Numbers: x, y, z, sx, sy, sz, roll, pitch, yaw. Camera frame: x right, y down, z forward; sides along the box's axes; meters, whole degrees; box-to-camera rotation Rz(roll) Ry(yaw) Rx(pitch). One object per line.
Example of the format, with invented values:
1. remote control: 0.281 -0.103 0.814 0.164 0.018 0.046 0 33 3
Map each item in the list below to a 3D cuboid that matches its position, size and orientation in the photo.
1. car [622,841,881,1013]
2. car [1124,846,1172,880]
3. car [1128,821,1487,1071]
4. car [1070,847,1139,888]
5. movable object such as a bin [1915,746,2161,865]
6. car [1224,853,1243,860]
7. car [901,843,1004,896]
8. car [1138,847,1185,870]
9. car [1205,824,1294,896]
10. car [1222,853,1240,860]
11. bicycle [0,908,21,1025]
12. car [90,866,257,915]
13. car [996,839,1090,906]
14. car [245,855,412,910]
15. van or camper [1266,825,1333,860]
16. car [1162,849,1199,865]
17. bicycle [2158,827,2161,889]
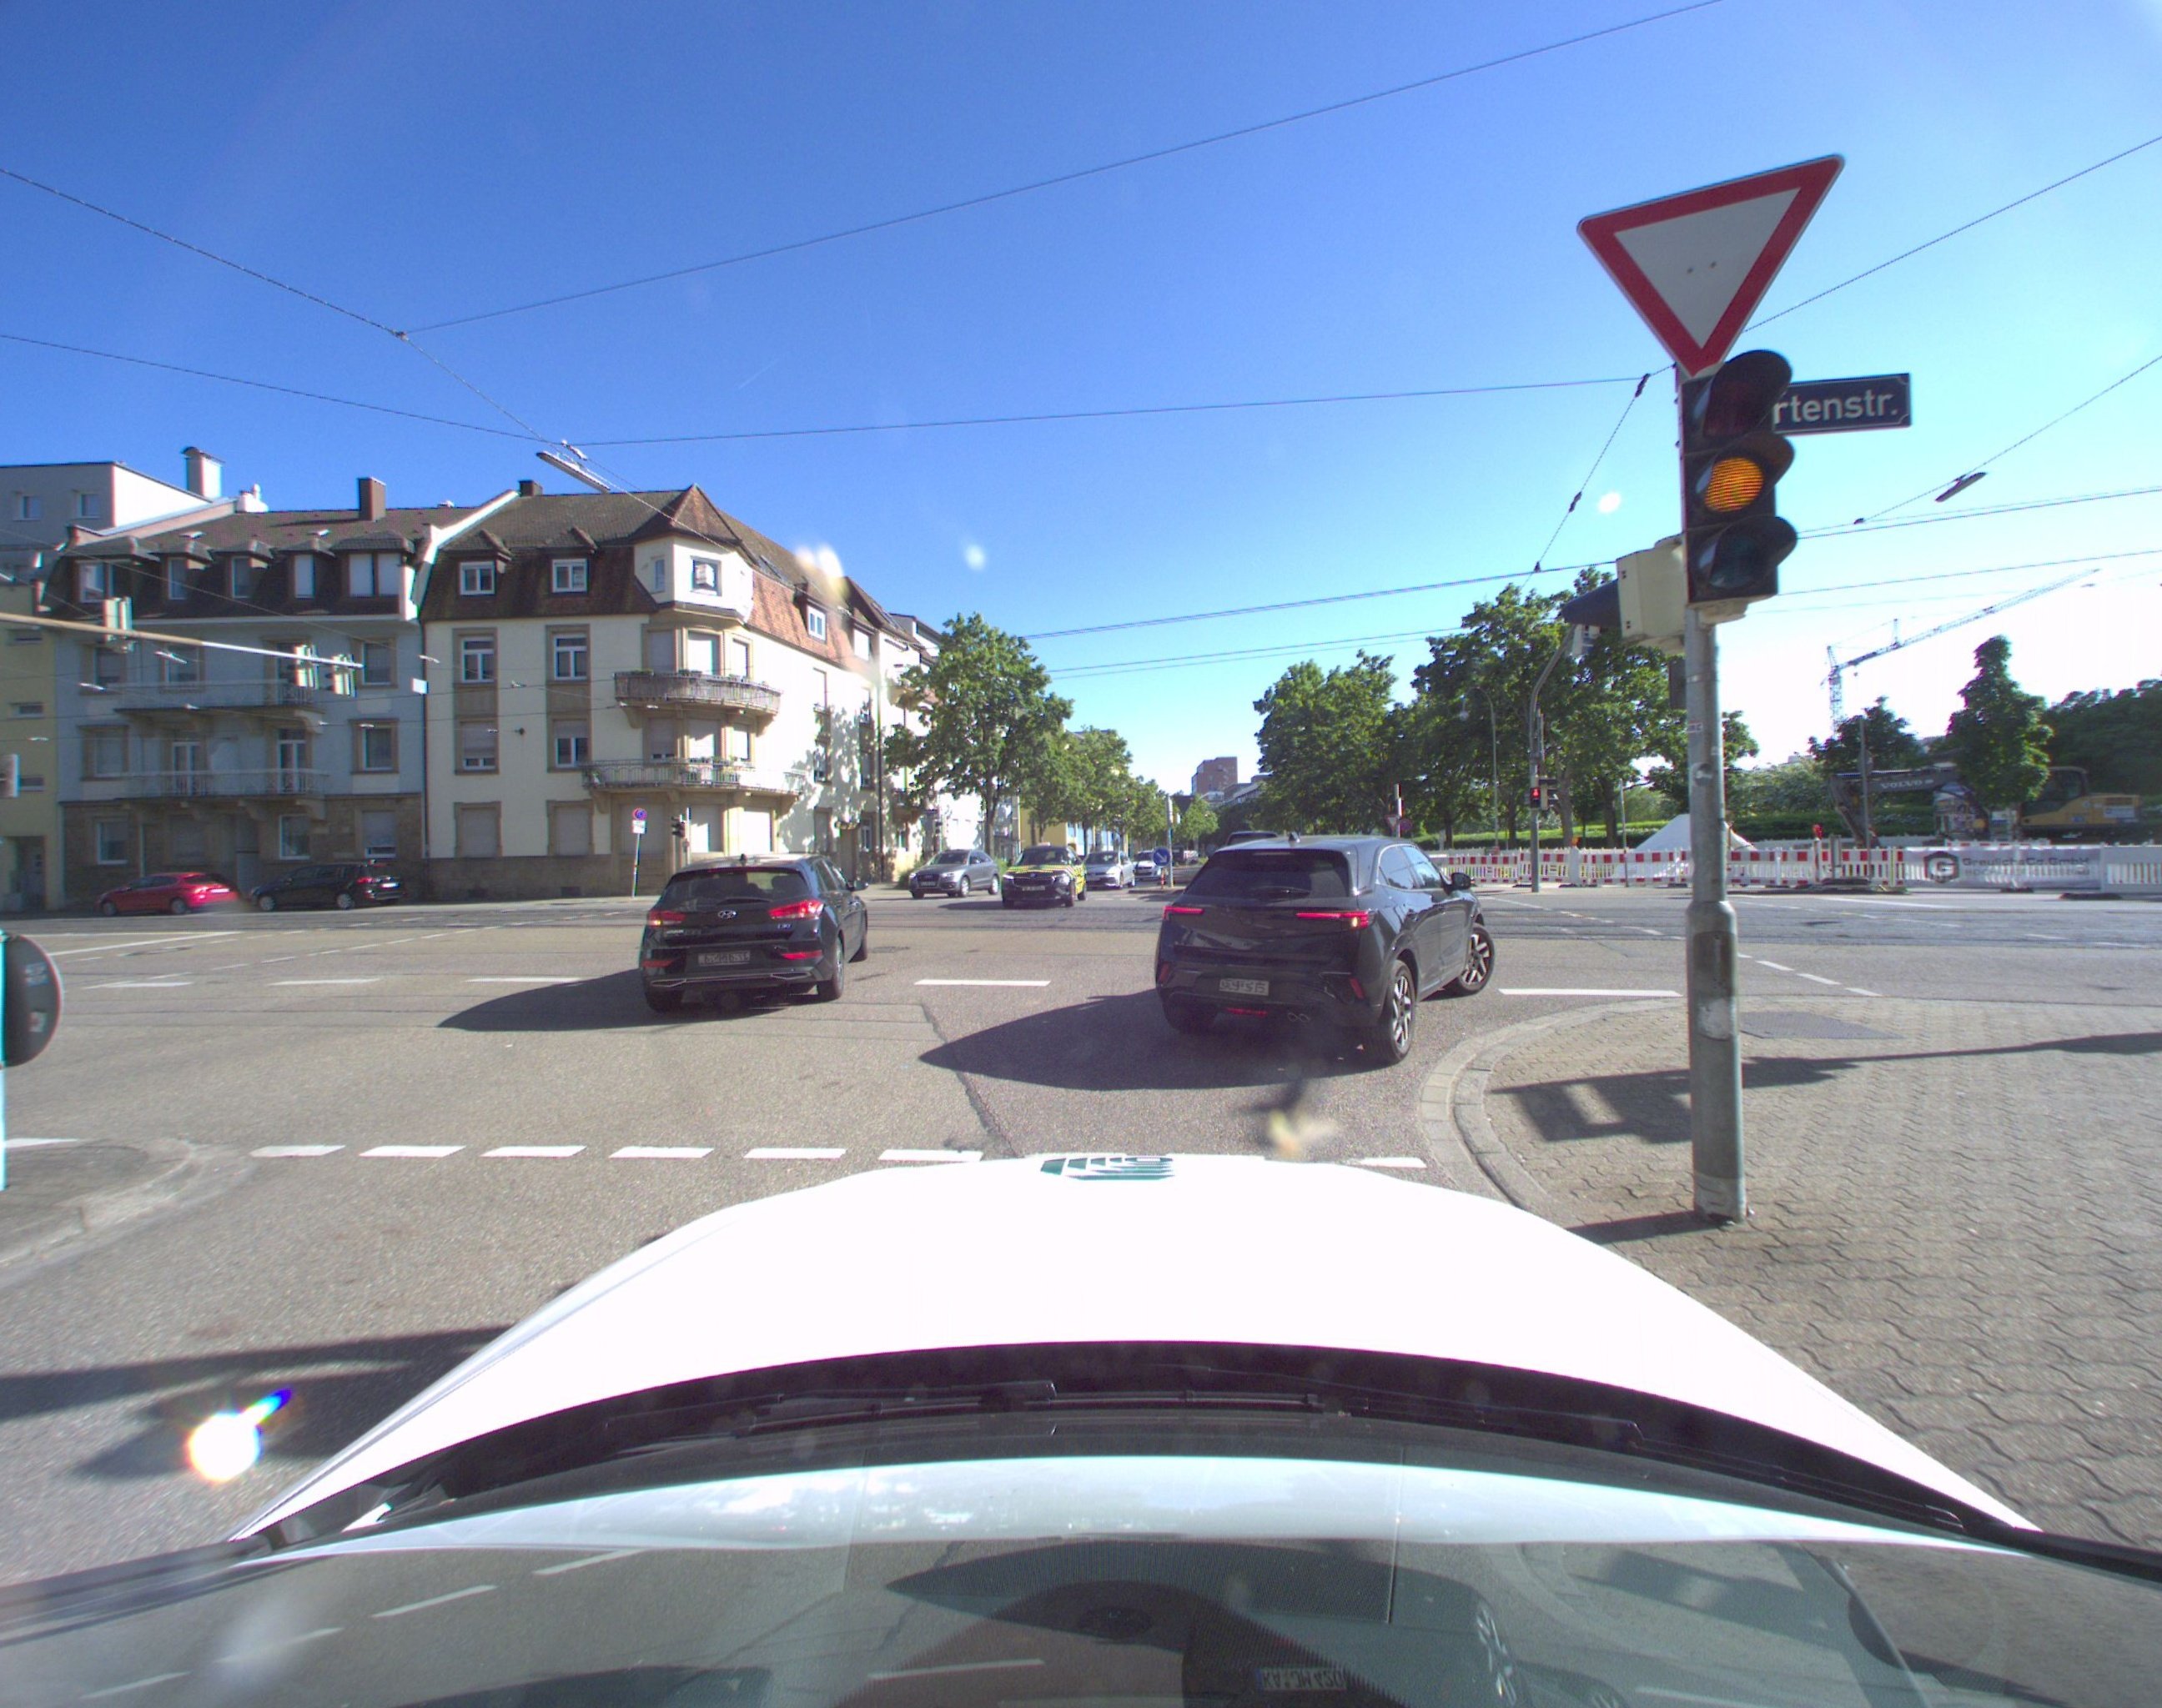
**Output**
1. car: -3.442 0.600 9.410 1.800 1.451 4.313 -2 1 -9
2. car: 3.391 0.398 40.554 1.692 1.512 3.878 -4 0 14
3. car: 2.174 0.549 7.001 1.764 1.517 3.779 -1 0 35
4. car: 0.961 0.469 30.973 1.695 1.452 3.866 -2 0 15
5. movable object such as a bin: 29.581 -1.377 25.049 4.664 3.363 2.844 -1 -1 11
6. car: 33.094 0.540 176.782 3.929 1.397 1.518 -4 -1 4
7. car: -4.198 0.472 27.276 1.871 1.610 4.164 -2 0 14
8. car: 9.756 0.585 99.280 5.265 2.545 1.977 -2 -1 -12
9. car: 5.049 0.137 23.799 2.117 1.835 4.962 -2 0 16
10. car: 35.296 0.559 191.372 3.929 1.397 1.518 -4 -1 4
11. bicycle: -10.832 1.113 7.037 0.539 1.123 2.061 -2 0 4
12. car: -32.549 1.277 29.284 3.862 1.540 1.901 -2 1 3
13. car: -0.867 0.422 21.114 1.779 1.513 4.123 -2 0 6
14. car: -26.804 0.994 29.120 4.143 1.724 1.964 -2 1 3
15. van or camper: 21.225 -1.095 79.291 6.038 2.928 2.584 -4 -1 12
16. car: 14.328 0.402 116.976 4.903 2.083 1.971 -2 -1 -22
17. bicycle: 22.716 0.056 15.990 1.761 1.266 0.658 -2 0 25
